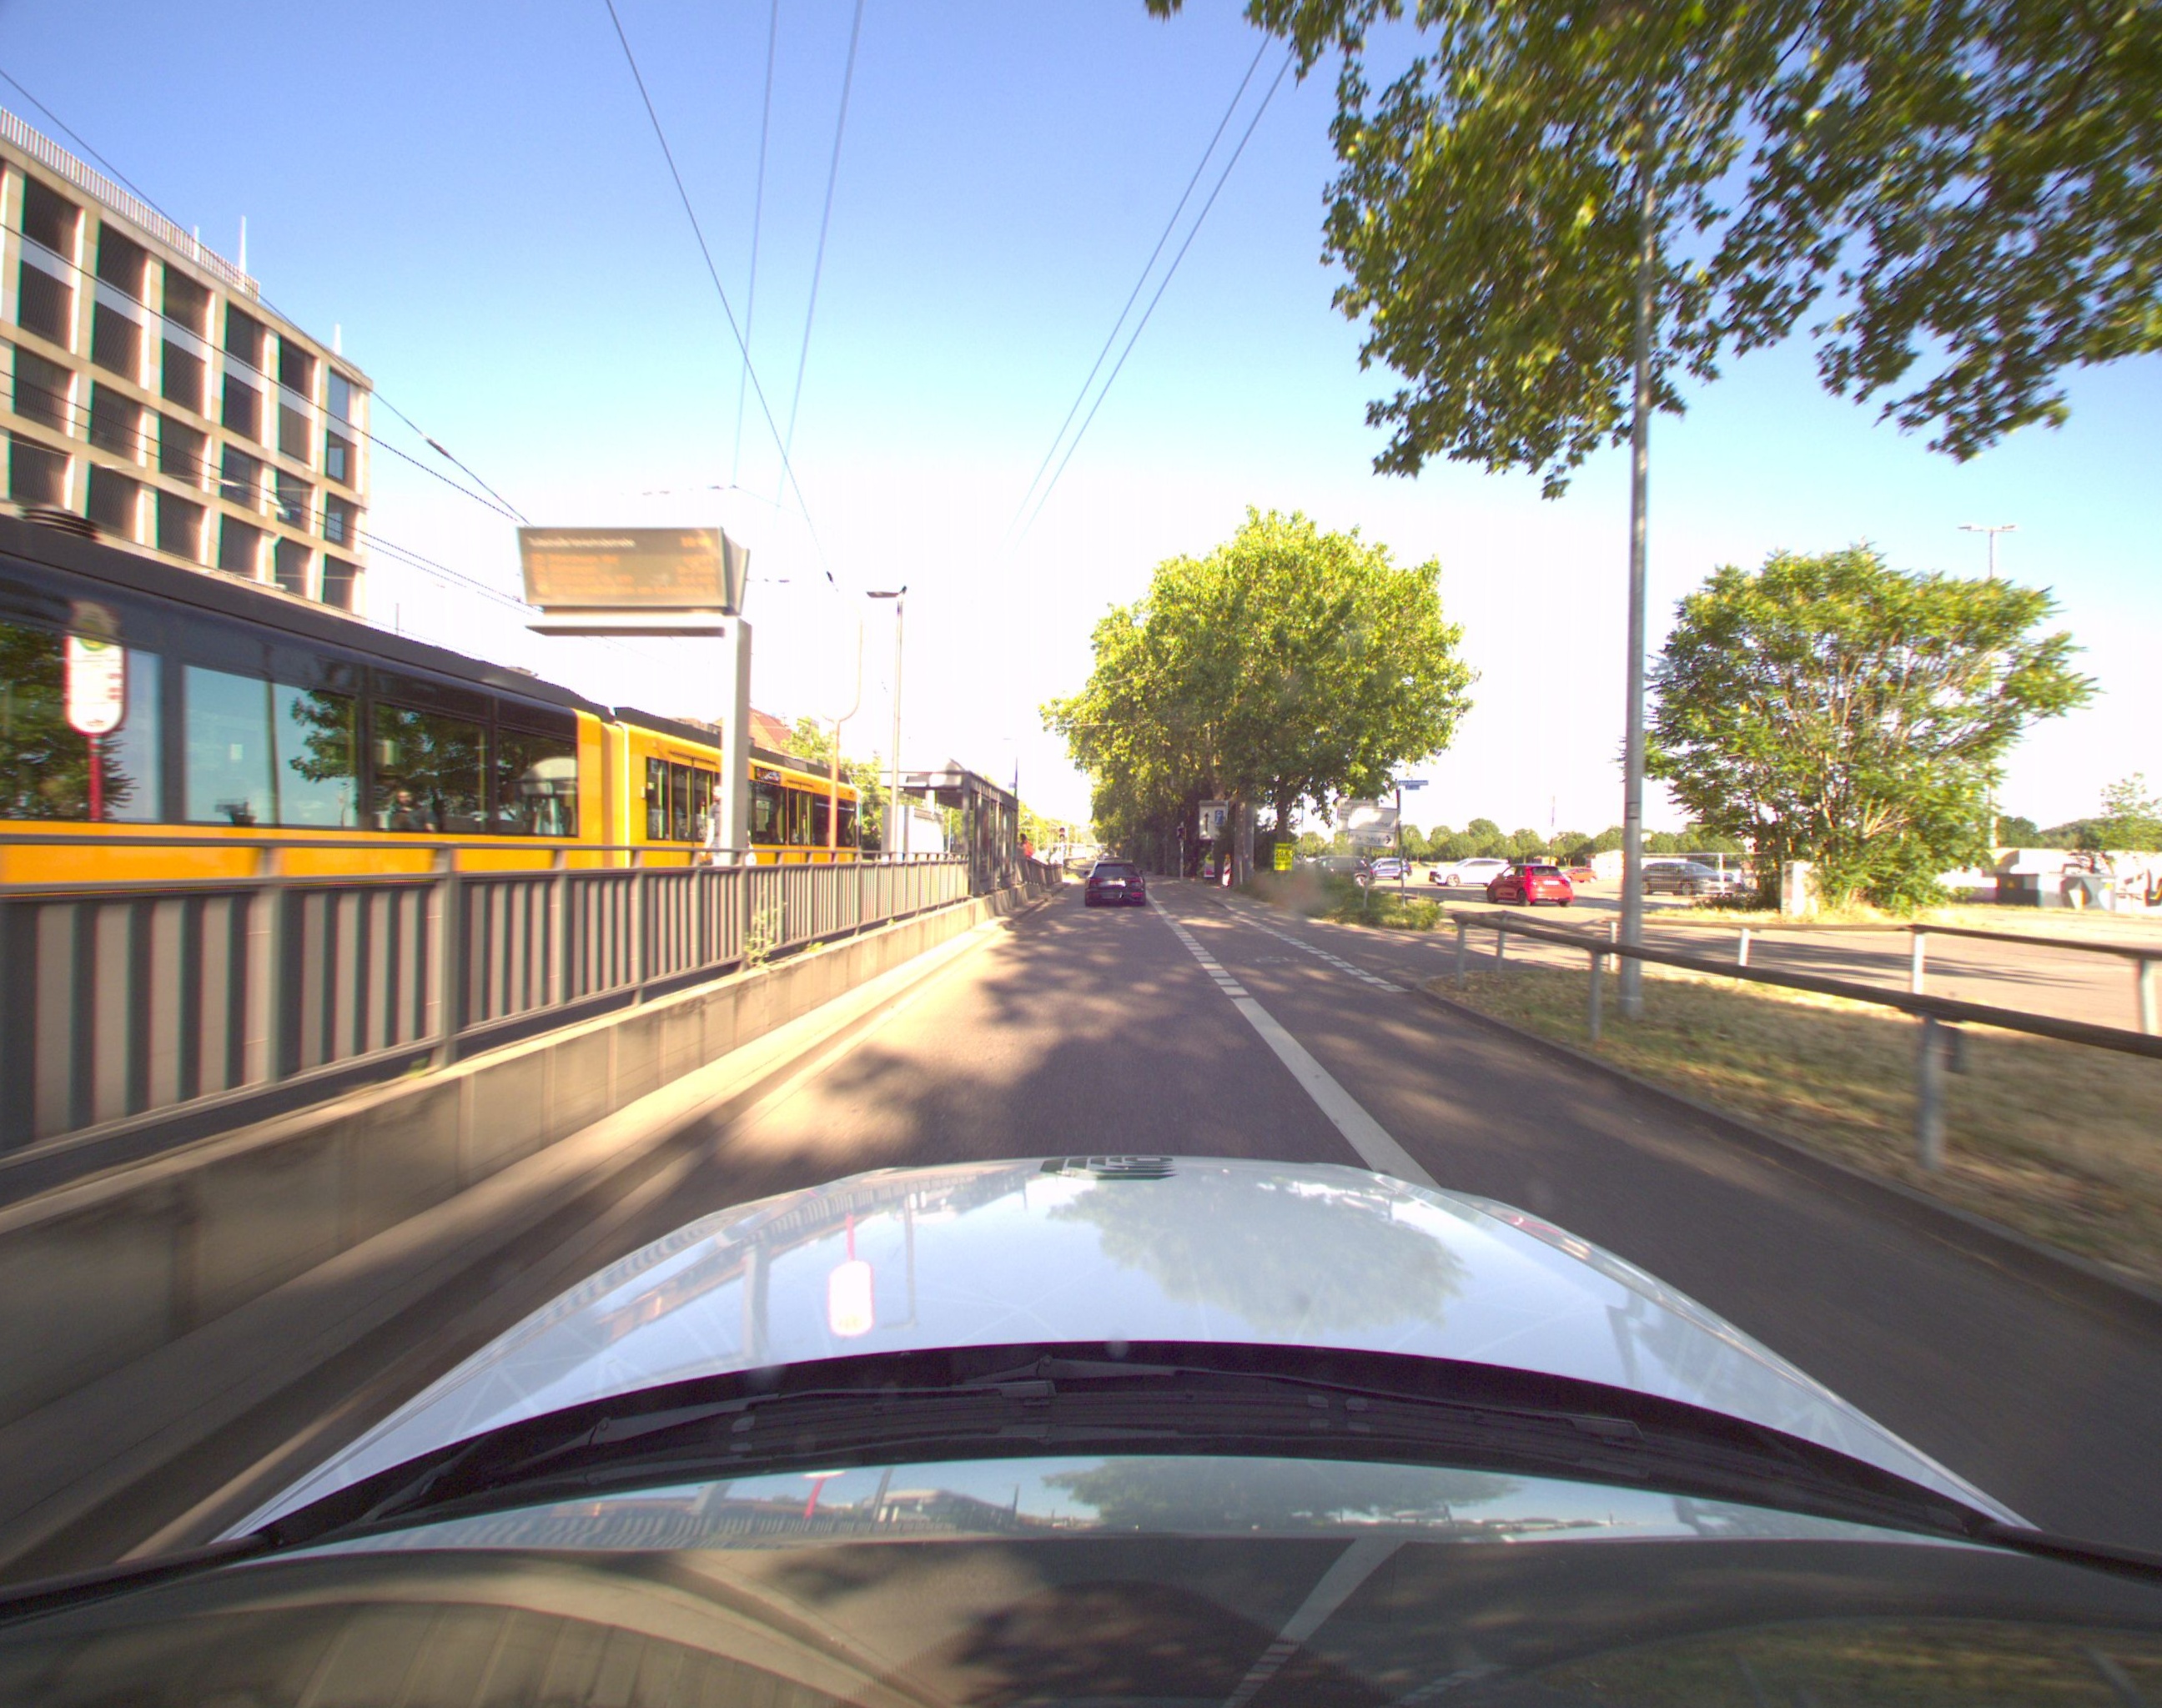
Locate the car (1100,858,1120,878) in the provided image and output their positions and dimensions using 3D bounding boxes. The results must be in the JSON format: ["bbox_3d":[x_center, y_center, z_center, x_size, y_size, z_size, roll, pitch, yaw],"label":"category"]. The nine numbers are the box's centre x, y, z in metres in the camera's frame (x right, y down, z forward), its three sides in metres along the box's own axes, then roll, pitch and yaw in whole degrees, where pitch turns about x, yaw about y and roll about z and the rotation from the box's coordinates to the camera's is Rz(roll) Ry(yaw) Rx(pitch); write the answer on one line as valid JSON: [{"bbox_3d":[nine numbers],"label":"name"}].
[{"bbox_3d":[3.032,1.445,84.281,1.986,2.013,4.002,1,0,2],"label":"car"}]

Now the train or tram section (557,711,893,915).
[{"bbox_3d":[-8.166,-0.775,21.472,3.297,3.829,11.846,1,0,1],"label":"train or tram section"}]

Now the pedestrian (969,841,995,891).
[{"bbox_3d":[-2.579,0.309,21.213,0.565,1.293,0.501,2,0,1],"label":"pedestrian"}]

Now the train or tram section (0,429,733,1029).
[{"bbox_3d":[-8.455,-0.811,9.565,3.297,3.829,11.846,1,0,1],"label":"train or tram section"}]

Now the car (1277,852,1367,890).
[{"bbox_3d":[12.025,0.836,40.850,3.971,1.764,1.834,1,-1,2],"label":"car"}]

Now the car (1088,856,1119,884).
[{"bbox_3d":[1.362,0.940,50.637,1.757,1.619,3.999,1,0,-1],"label":"car"}]

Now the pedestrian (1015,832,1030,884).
[{"bbox_3d":[-1.967,0.140,27.421,0.410,1.717,0.666,1,0,1],"label":"pedestrian"}]

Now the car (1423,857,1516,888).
[{"bbox_3d":[22.232,1.024,46.696,4.436,1.658,1.921,1,0,5],"label":"car"}]

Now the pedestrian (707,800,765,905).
[{"bbox_3d":[-5.824,-0.021,13.768,0.655,1.713,0.614,1,0,2],"label":"pedestrian"}]

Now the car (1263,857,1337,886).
[{"bbox_3d":[11.739,0.920,43.815,3.580,1.462,1.679,1,0,2],"label":"car"}]

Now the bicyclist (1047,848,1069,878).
[{"bbox_3d":[-1.297,0.517,46.300,0.914,1.717,0.761,2,-1,-43],"label":"bicyclist"}]

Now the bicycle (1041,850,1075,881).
[{"bbox_3d":[-1.295,0.645,46.289,1.984,1.717,0.584,2,-1,-43],"label":"bicycle"}]

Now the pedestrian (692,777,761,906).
[{"bbox_3d":[-4.863,-0.163,11.204,0.609,1.713,0.659,1,0,-1],"label":"pedestrian"}]

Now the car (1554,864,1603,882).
[{"bbox_3d":[47.776,1.827,78.223,3.803,1.601,1.649,1,0,-2],"label":"car"}]

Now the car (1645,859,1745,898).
[{"bbox_3d":[27.661,1.073,36.870,1.560,1.609,4.001,1,0,1],"label":"car"}]

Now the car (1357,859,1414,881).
[{"bbox_3d":[23.688,1.248,63.489,3.798,1.609,1.671,1,0,1],"label":"car"}]

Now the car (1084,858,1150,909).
[{"bbox_3d":[1.071,0.888,25.761,1.872,1.457,3.355,-1,0,-1],"label":"car"}]

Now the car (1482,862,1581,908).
[{"bbox_3d":[16.287,1.087,29.655,1.608,1.515,3.804,1,0,2],"label":"car"}]
